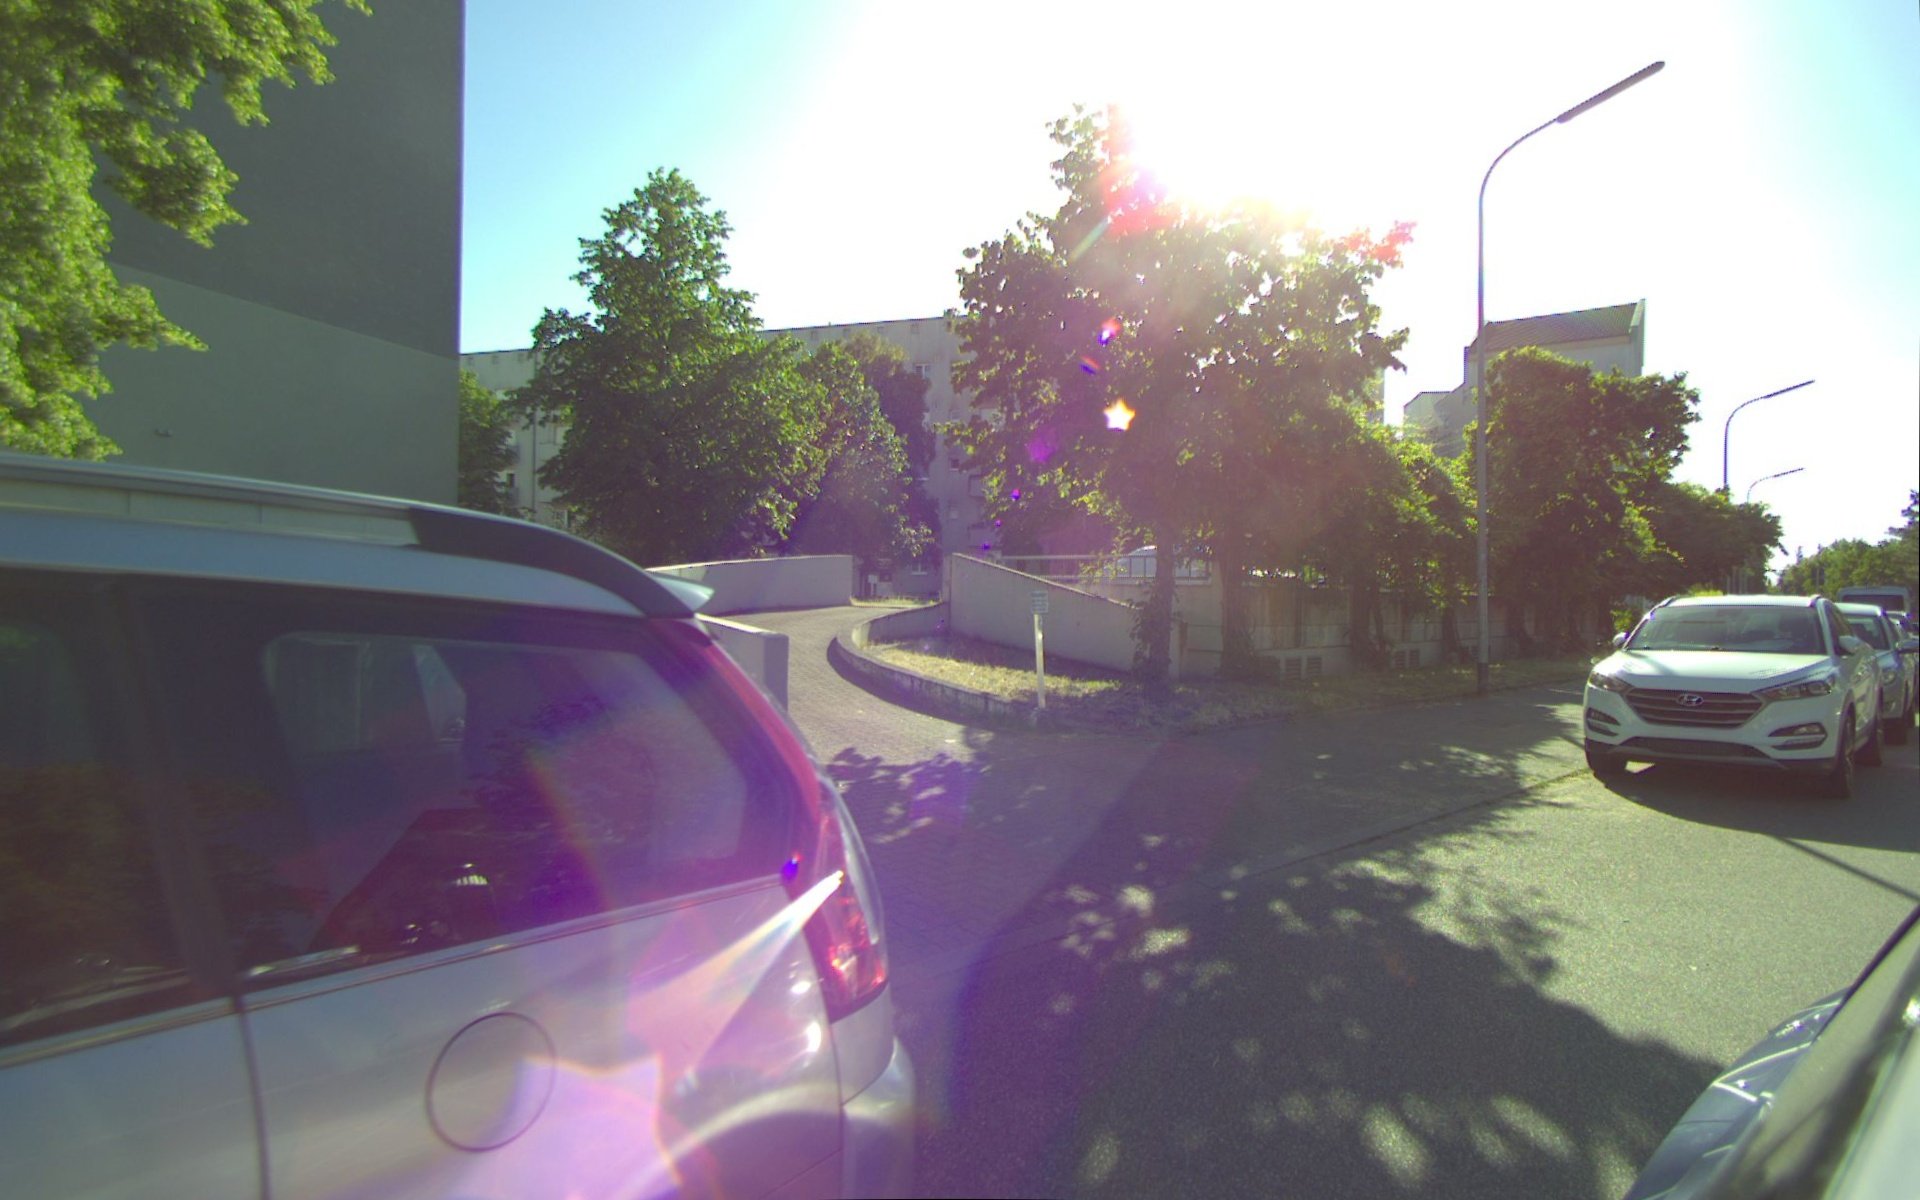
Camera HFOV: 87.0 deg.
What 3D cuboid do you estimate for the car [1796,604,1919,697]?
[{"bbox_3d":[16.596,0.843,18.420,1.754,1.498,4.299,-2,-1,44],"label":"car"}]

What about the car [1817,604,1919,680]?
[{"bbox_3d":[19.900,0.843,21.919,1.755,1.498,3.839,1,0,45],"label":"car"}]

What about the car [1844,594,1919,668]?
[{"bbox_3d":[23.551,0.738,25.558,1.753,1.716,3.842,1,0,43],"label":"car"}]

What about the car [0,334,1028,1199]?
[{"bbox_3d":[-2.163,0.598,0.795,4.414,1.647,1.758,0,0,-39],"label":"car"}]

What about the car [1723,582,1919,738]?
[{"bbox_3d":[11.285,0.652,13.013,3.917,1.707,1.756,0,0,-44],"label":"car"}]

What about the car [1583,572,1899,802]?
[{"bbox_3d":[7.546,0.636,9.607,4.339,1.695,1.756,0,0,-44],"label":"car"}]
